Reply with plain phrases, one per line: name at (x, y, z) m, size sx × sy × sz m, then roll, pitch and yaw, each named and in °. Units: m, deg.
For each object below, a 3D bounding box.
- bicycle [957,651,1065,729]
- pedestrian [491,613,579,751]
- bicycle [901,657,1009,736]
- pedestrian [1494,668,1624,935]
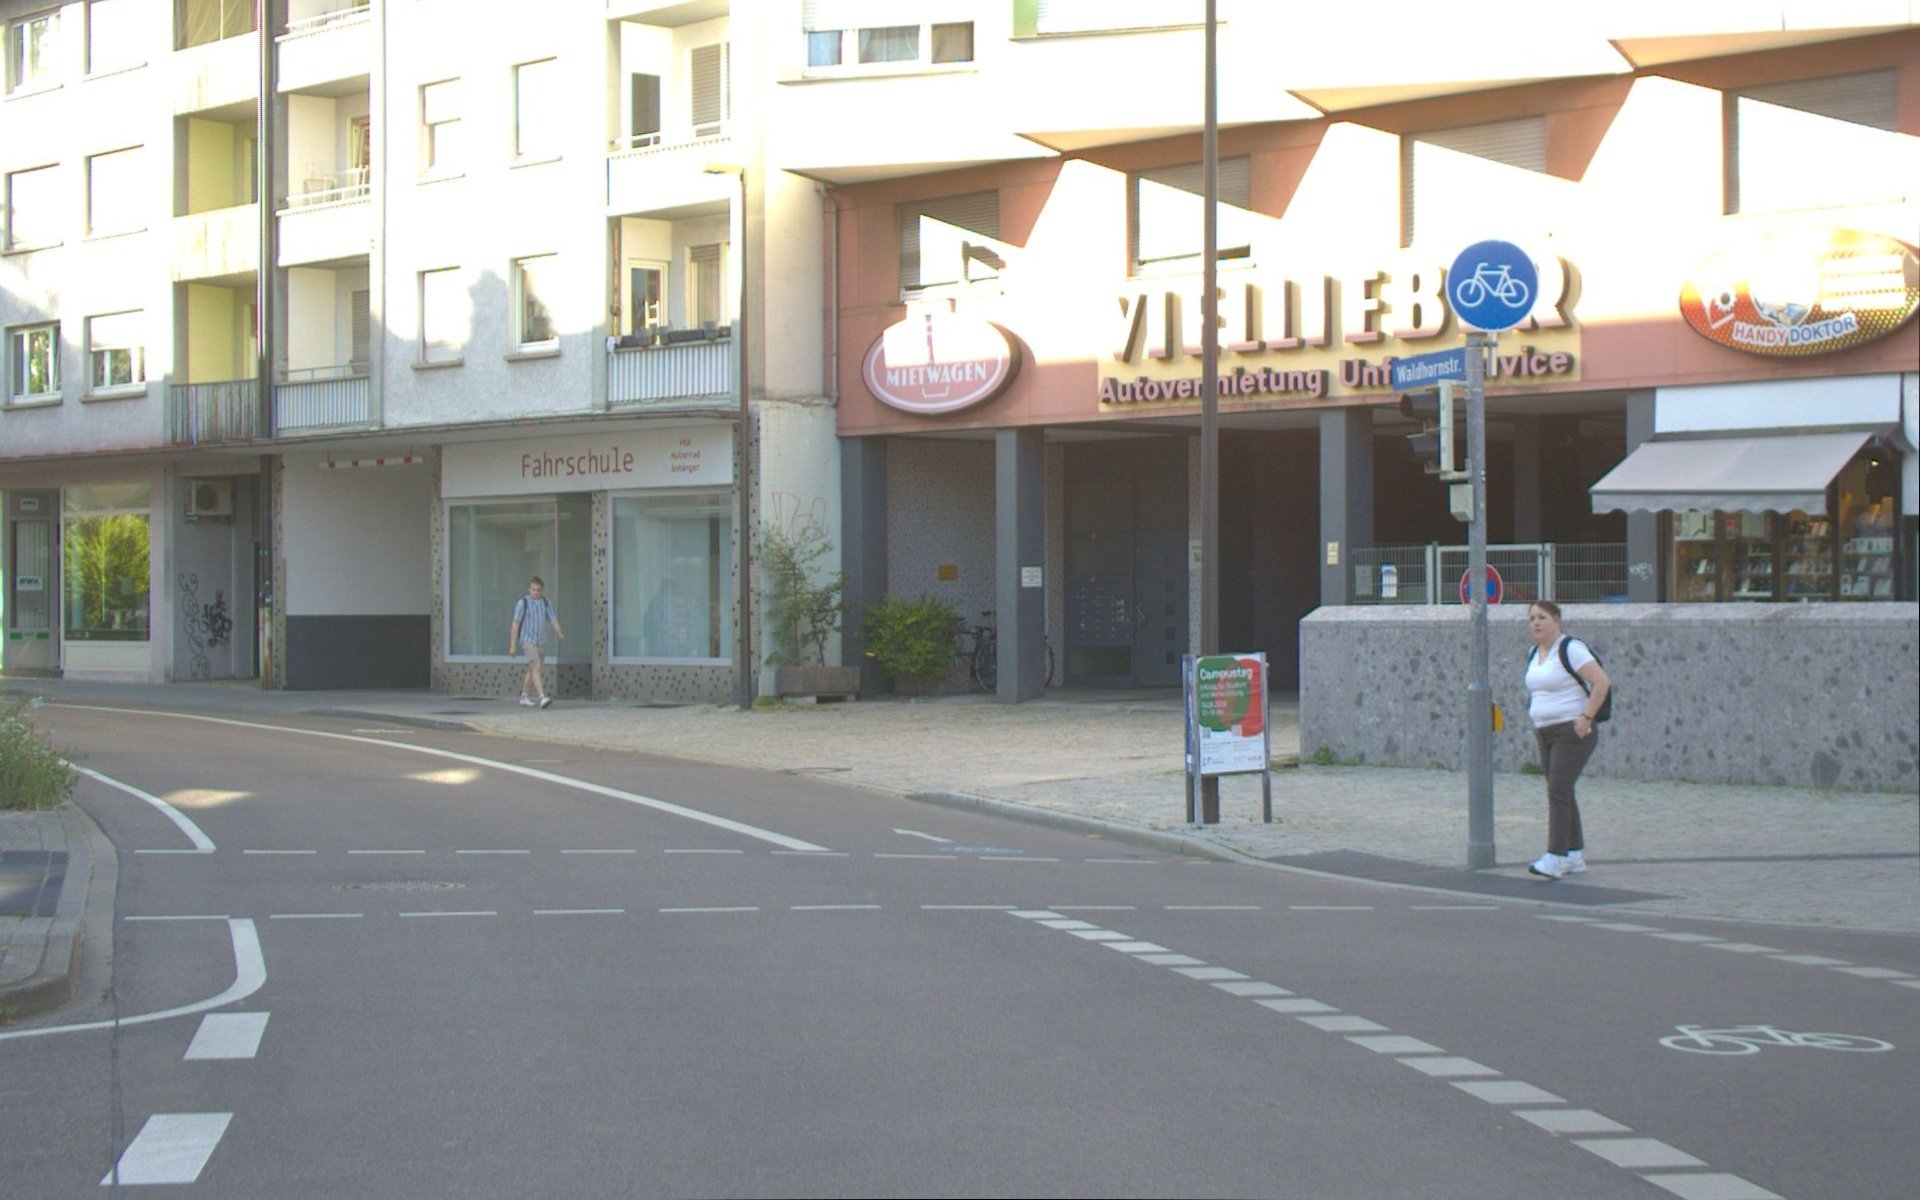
bicycle at (0.692, 1.227, 47.207) m, size 0.494 × 1.035 × 1.638 m, roll 0°, pitch -1°, yaw -41°
pedestrian at (-5.867, 1.124, 47.475) m, size 0.731 × 1.848 × 0.948 m, roll -4°, pitch 2°, yaw -42°
bicycle at (-0.075, 1.305, 46.755) m, size 0.494 × 1.035 × 1.638 m, roll 0°, pitch -1°, yaw -41°
pedestrian at (3.668, 1.219, 21.046) m, size 0.539 × 1.578 × 0.557 m, roll 0°, pitch 1°, yaw -39°
